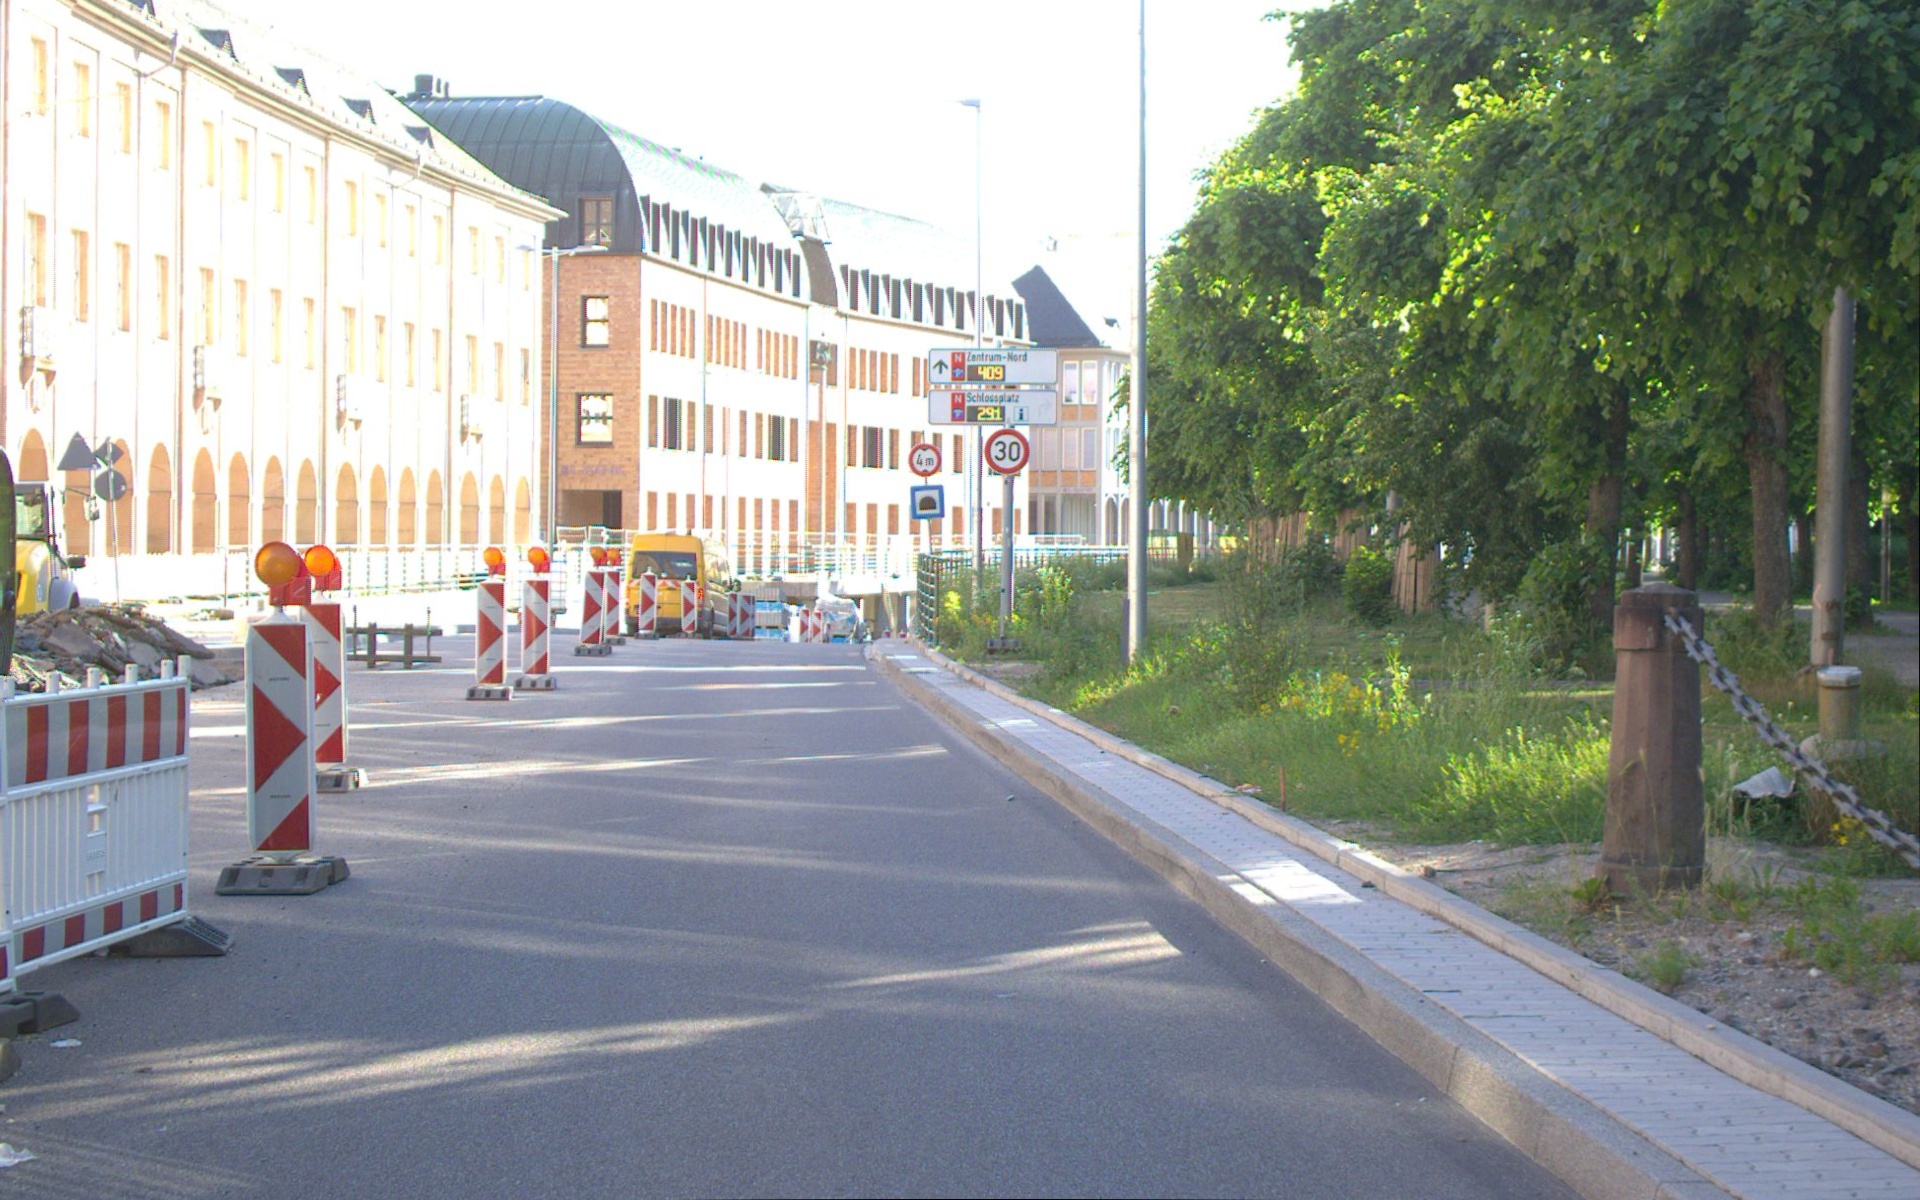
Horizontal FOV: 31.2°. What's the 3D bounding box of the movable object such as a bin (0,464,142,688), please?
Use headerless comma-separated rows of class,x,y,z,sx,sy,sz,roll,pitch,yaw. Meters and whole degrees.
movable object such as a bin,-11.111,-0.355,40.128,2.074,2.467,4.617,1,2,-1

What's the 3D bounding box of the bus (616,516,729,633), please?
bus,-6.934,-0.580,83.314,2.073,2.677,4.683,1,-1,3

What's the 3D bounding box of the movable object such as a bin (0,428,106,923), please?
movable object such as a bin,-4.789,0.307,12.891,2.050,1.942,4.335,1,2,1
